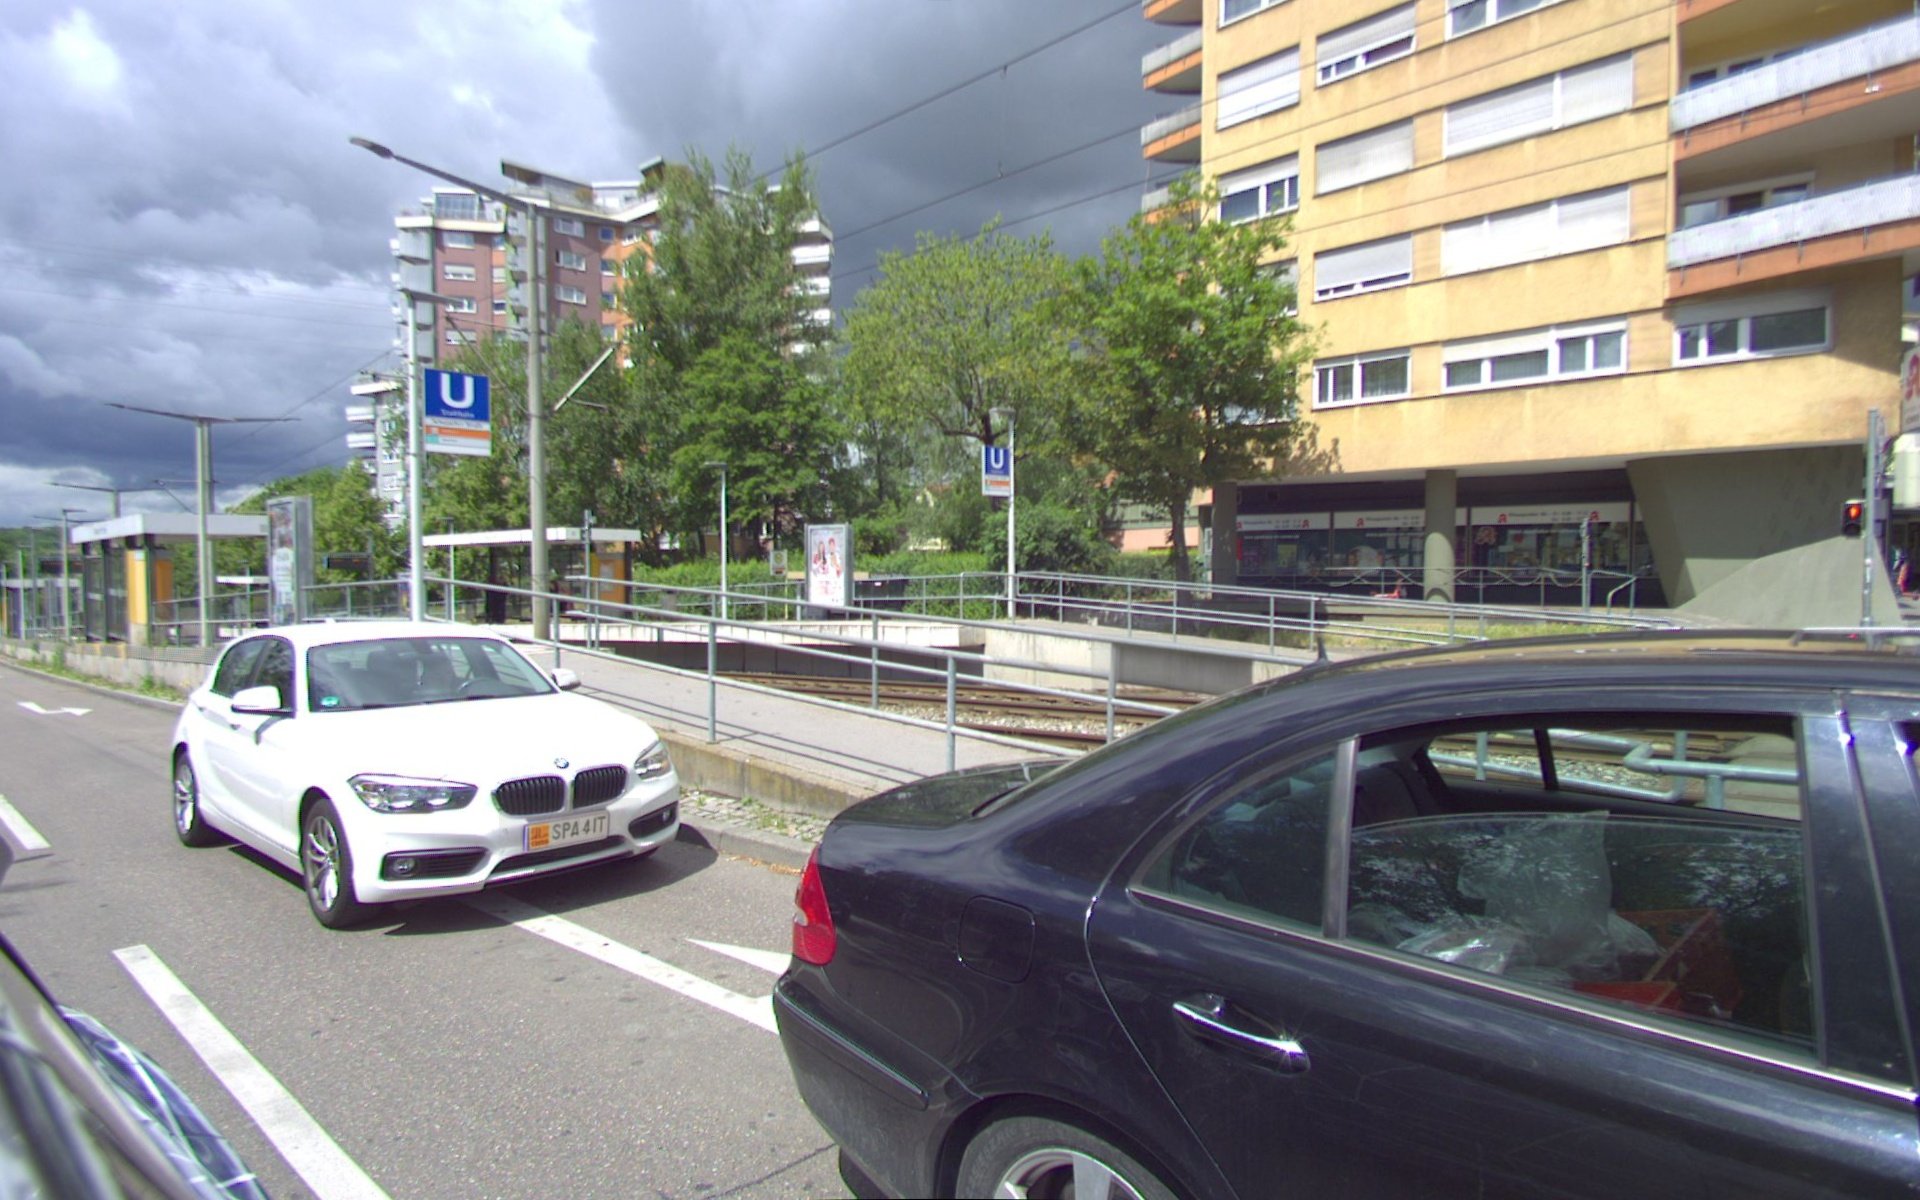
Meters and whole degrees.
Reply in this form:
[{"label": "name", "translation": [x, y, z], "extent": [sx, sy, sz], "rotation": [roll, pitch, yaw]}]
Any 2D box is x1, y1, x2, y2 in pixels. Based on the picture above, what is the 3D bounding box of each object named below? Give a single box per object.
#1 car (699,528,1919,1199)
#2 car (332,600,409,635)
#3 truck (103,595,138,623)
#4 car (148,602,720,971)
[{"label": "car", "translation": [1.687, 0.655, 1.395], "extent": [4.542, 1.472, 1.710], "rotation": [-1, 0, 41]}, {"label": "car", "translation": [-28.846, 0.872, 49.465], "extent": [4.459, 1.647, 1.972], "rotation": [-1, -2, 42]}, {"label": "truck", "translation": [-105.713, 1.154, 127.400], "extent": [7.260, 3.247, 2.389], "rotation": [-2, -1, 42]}, {"label": "car", "translation": [-3.346, 0.778, 6.072], "extent": [3.998, 1.472, 1.710], "rotation": [-1, 0, 41]}]
